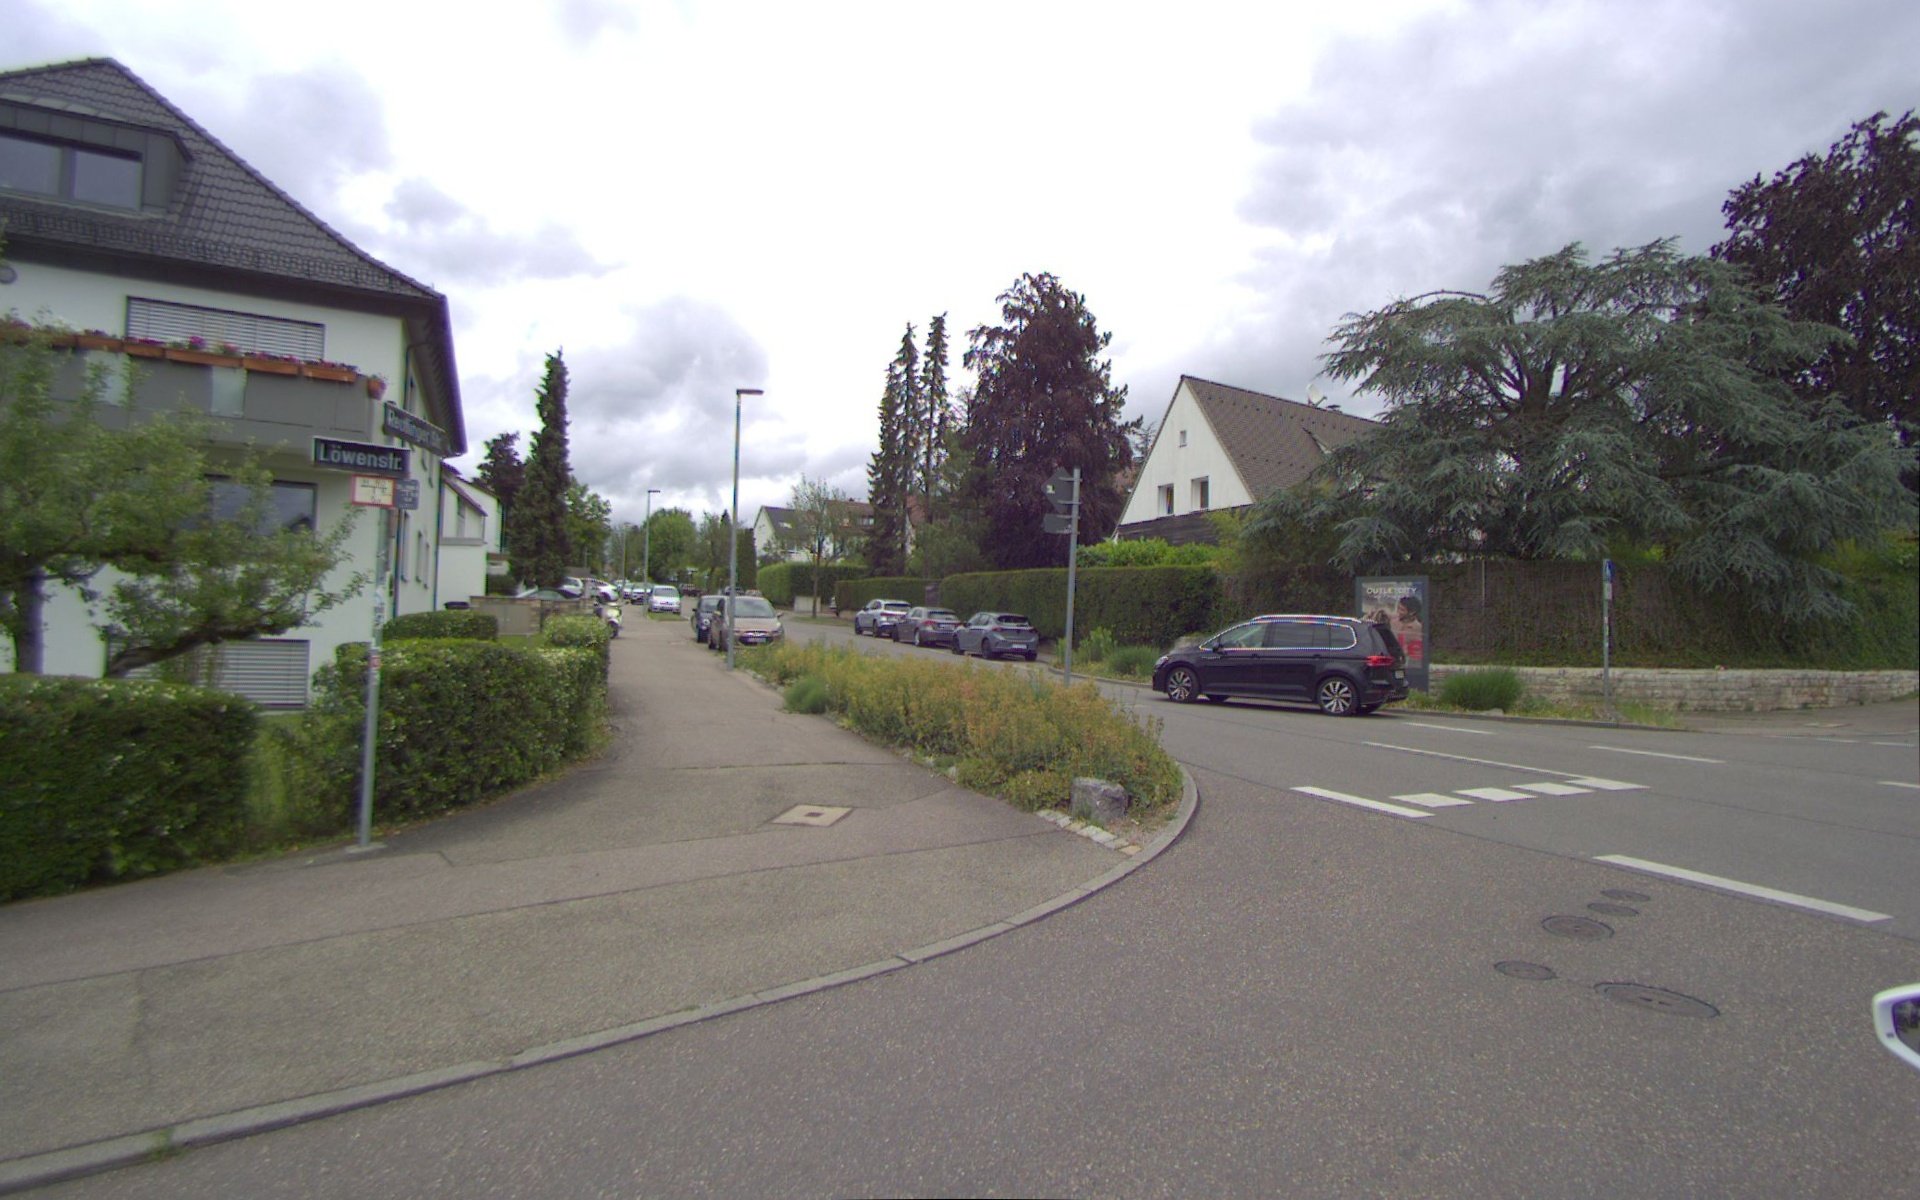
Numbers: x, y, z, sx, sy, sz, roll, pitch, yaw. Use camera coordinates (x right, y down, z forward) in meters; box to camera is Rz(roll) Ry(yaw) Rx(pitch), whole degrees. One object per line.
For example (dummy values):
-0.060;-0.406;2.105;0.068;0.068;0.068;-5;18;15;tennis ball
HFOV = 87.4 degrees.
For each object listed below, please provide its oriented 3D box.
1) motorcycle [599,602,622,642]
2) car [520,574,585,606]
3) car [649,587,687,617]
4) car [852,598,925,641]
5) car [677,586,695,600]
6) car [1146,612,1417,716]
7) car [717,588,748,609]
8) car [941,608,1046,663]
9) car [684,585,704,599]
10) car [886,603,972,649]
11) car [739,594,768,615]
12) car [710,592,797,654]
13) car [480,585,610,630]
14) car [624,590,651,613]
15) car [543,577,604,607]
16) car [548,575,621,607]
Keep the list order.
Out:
-10.730;0.670;30.902;0.423;1.176;1.858;1;-1;-13;motorcycle
-24.409;-0.586;60.256;3.389;1.598;1.649;5;-2;-20;car
-16.529;0.108;56.770;1.740;1.584;3.836;2;0;-21;car
-3.122;0.796;42.946;1.835;1.603;4.149;4;-1;-22;car
-36.169;-0.899;132.527;1.970;1.639;4.492;5;-1;-20;car
5.647;1.062;17.844;4.241;1.632;1.847;0;-3;36;car
-19.772;-0.125;87.137;1.970;1.639;4.492;5;-1;-20;car
0.997;1.091;32.142;1.835;1.483;3.978;4;-1;-22;car
-33.755;-1.036;127.247;1.970;1.639;4.492;5;-1;-20;car
-1.217;0.936;37.561;1.835;1.483;4.149;4;-1;-22;car
-16.045;0.337;78.010;1.641;1.528;3.740;3;0;-20;car
-6.023;0.614;29.004;1.855;1.606;3.853;2;0;-20;car
-15.099;0.274;36.577;4.244;1.386;1.891;3;0;-26;car
-24.742;0.107;76.970;1.815;1.689;4.388;1;1;-20;car
-24.362;-0.479;63.429;3.389;1.532;1.685;5;-2;-20;car
-25.041;-0.584;67.059;4.363;1.650;1.901;6;-1;-22;car
